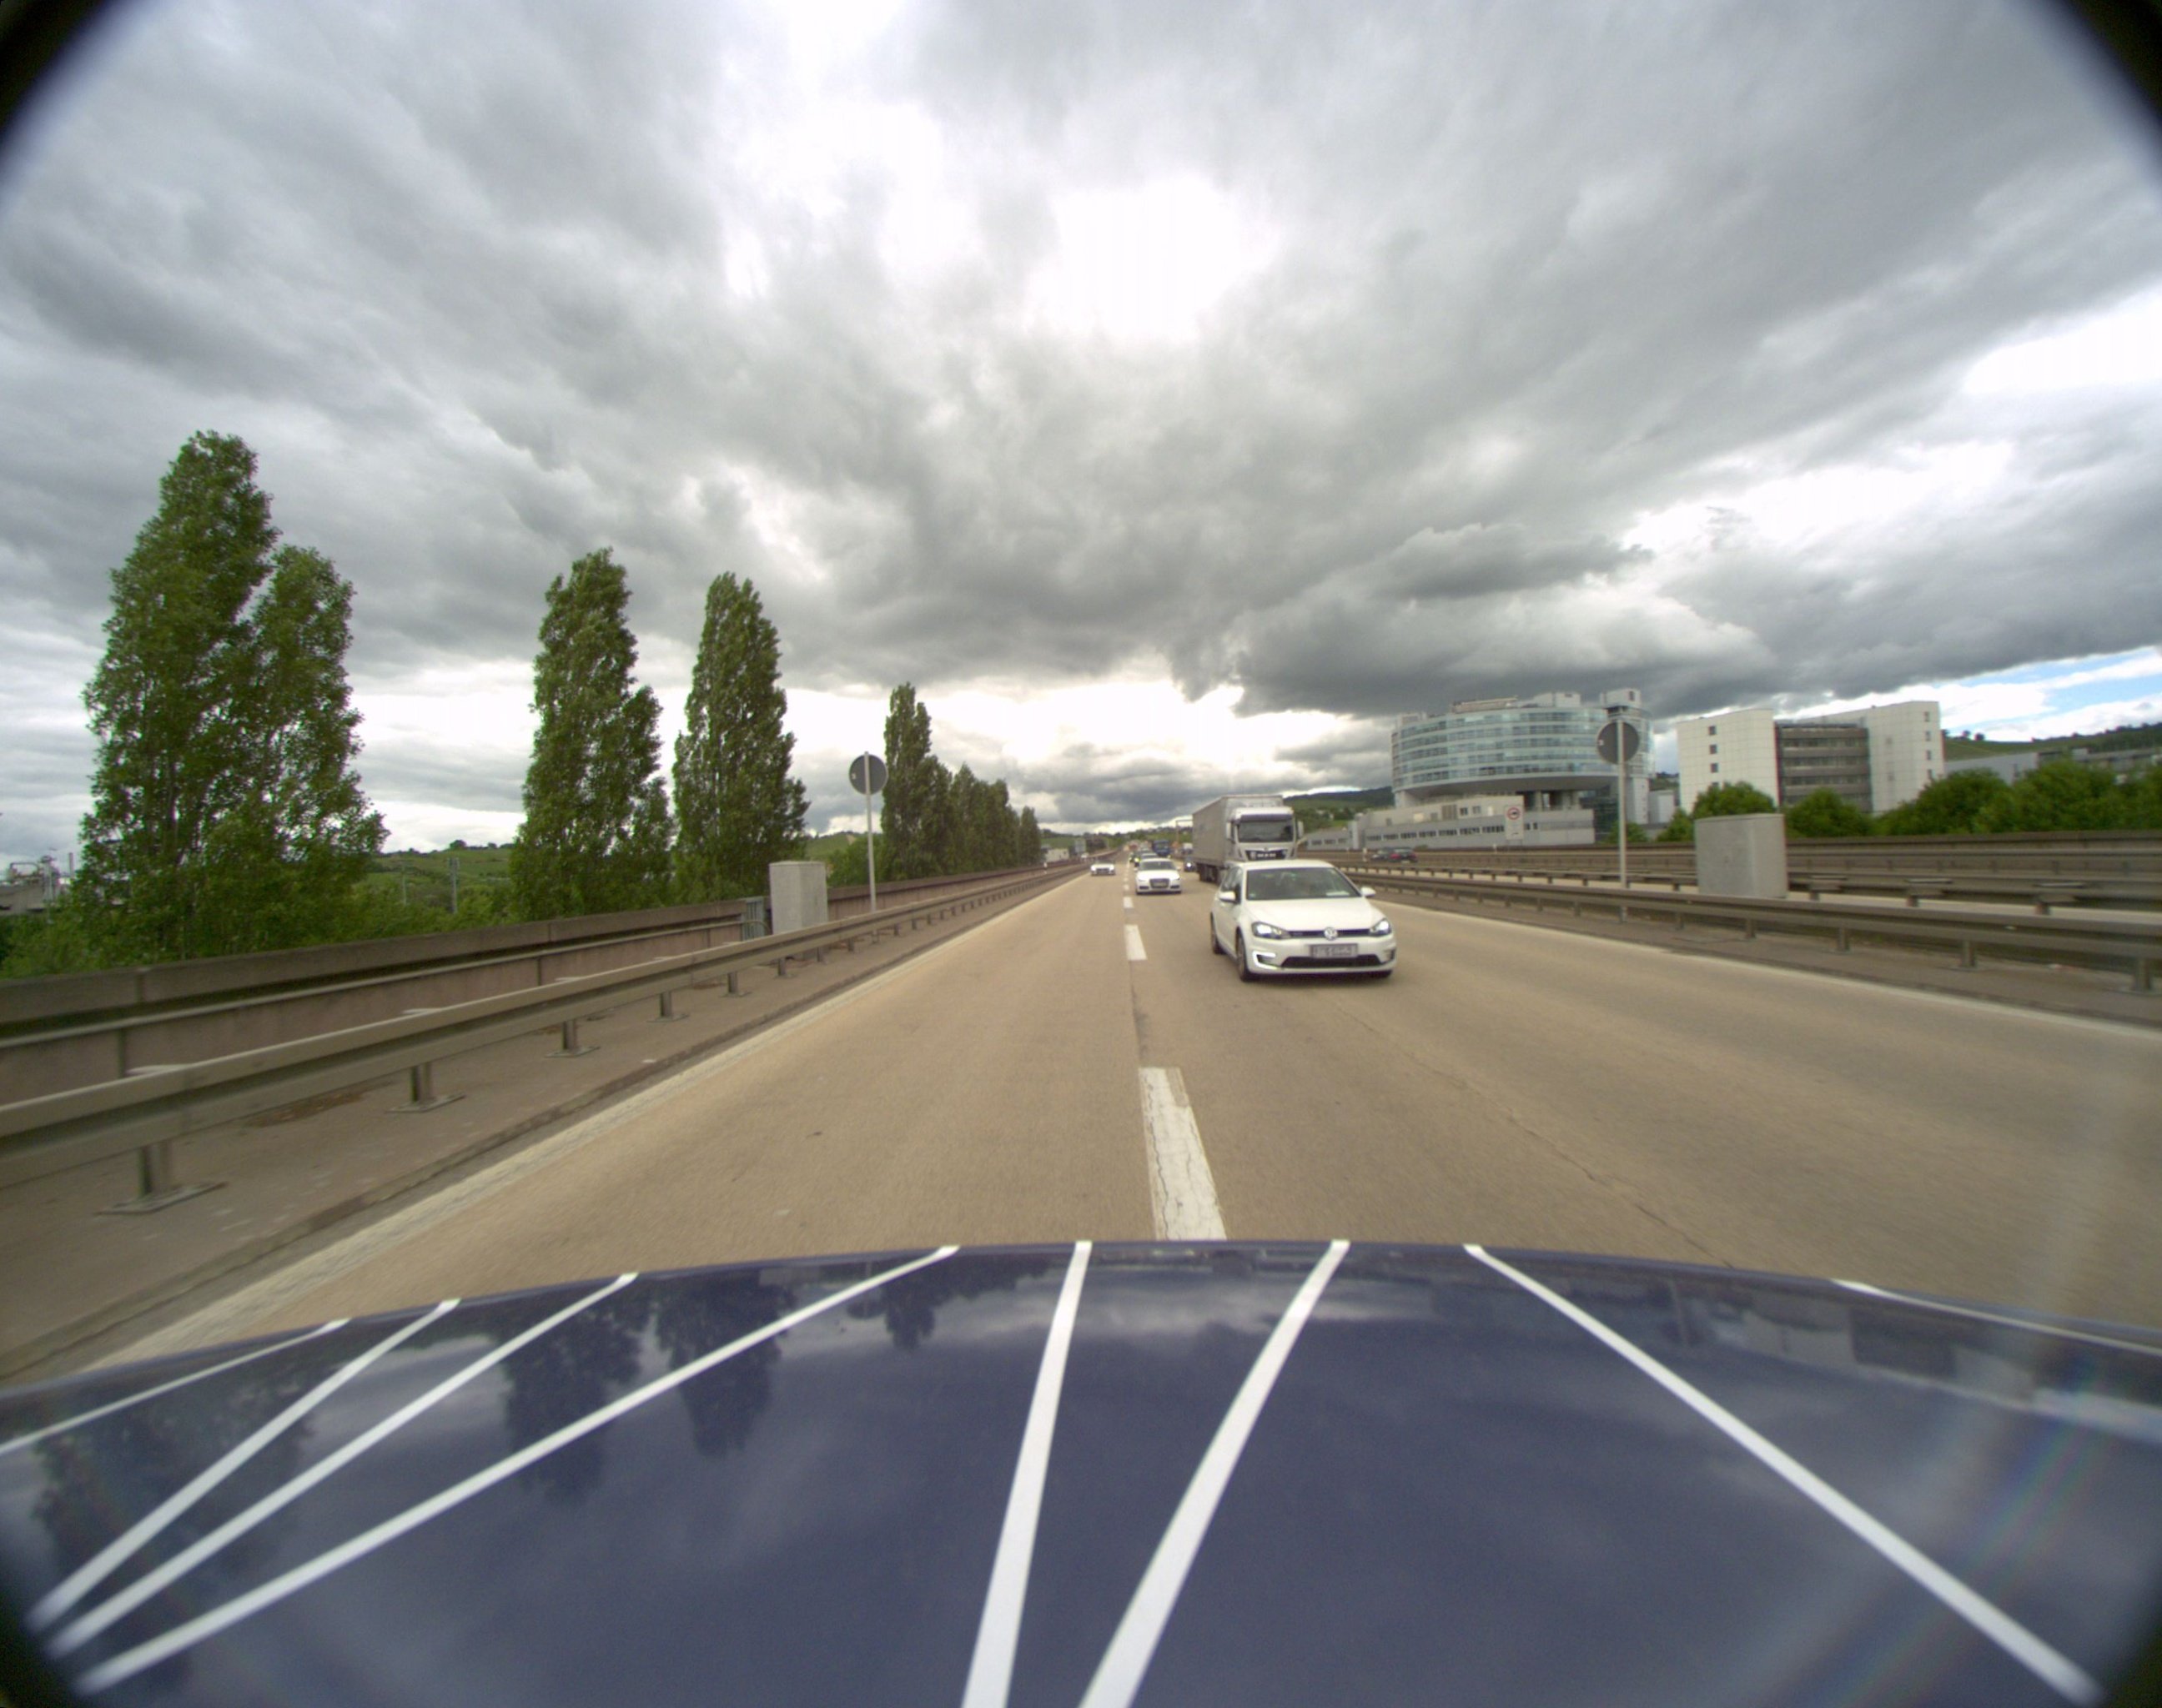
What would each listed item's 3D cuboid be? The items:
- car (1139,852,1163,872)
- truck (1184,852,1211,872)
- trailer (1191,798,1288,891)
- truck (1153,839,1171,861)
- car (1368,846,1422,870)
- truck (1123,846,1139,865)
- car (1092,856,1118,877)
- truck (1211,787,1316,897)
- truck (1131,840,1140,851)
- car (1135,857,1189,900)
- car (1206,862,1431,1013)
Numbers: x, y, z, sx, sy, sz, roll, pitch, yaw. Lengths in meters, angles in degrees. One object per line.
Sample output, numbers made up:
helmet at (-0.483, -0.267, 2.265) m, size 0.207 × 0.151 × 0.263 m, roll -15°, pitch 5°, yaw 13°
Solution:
car at (6.230, 0.717, 68.055) m, size 1.930 × 1.585 × 4.062 m, roll -3°, pitch 0°, yaw 3°
truck at (9.647, 0.673, 63.176) m, size 1.829 × 1.521 × 3.514 m, roll -2°, pitch 1°, yaw 3°
trailer at (7.942, -0.473, 39.837) m, size 3.188 × 4.003 × 11.767 m, roll -3°, pitch 0°, yaw 4°
truck at (12.194, -0.591, 114.137) m, size 2.336 × 3.219 × 6.687 m, roll -2°, pitch 1°, yaw 4°
car at (19.460, 0.206, 47.311) m, size 1.790 × 1.369 × 4.230 m, roll -3°, pitch 0°, yaw 3°
truck at (8.882, 0.153, 135.283) m, size 2.625 × 3.219 × 6.687 m, roll -2°, pitch 1°, yaw 4°
car at (2.004, 0.972, 61.505) m, size 1.930 × 1.499 × 4.062 m, roll -3°, pitch 0°, yaw 3°
truck at (7.449, -0.491, 31.831) m, size 3.141 × 4.014 × 5.689 m, roll -3°, pitch 1°, yaw 4°
truck at (17.248, -2.662, 241.575) m, size 2.625 × 3.219 × 6.687 m, roll -2°, pitch 1°, yaw 4°
car at (3.263, 0.963, 31.281) m, size 1.930 × 1.499 × 4.062 m, roll -3°, pitch 0°, yaw 3°
car at (2.880, 0.931, 10.209) m, size 1.930 × 1.499 × 4.062 m, roll -2°, pitch 1°, yaw 3°
